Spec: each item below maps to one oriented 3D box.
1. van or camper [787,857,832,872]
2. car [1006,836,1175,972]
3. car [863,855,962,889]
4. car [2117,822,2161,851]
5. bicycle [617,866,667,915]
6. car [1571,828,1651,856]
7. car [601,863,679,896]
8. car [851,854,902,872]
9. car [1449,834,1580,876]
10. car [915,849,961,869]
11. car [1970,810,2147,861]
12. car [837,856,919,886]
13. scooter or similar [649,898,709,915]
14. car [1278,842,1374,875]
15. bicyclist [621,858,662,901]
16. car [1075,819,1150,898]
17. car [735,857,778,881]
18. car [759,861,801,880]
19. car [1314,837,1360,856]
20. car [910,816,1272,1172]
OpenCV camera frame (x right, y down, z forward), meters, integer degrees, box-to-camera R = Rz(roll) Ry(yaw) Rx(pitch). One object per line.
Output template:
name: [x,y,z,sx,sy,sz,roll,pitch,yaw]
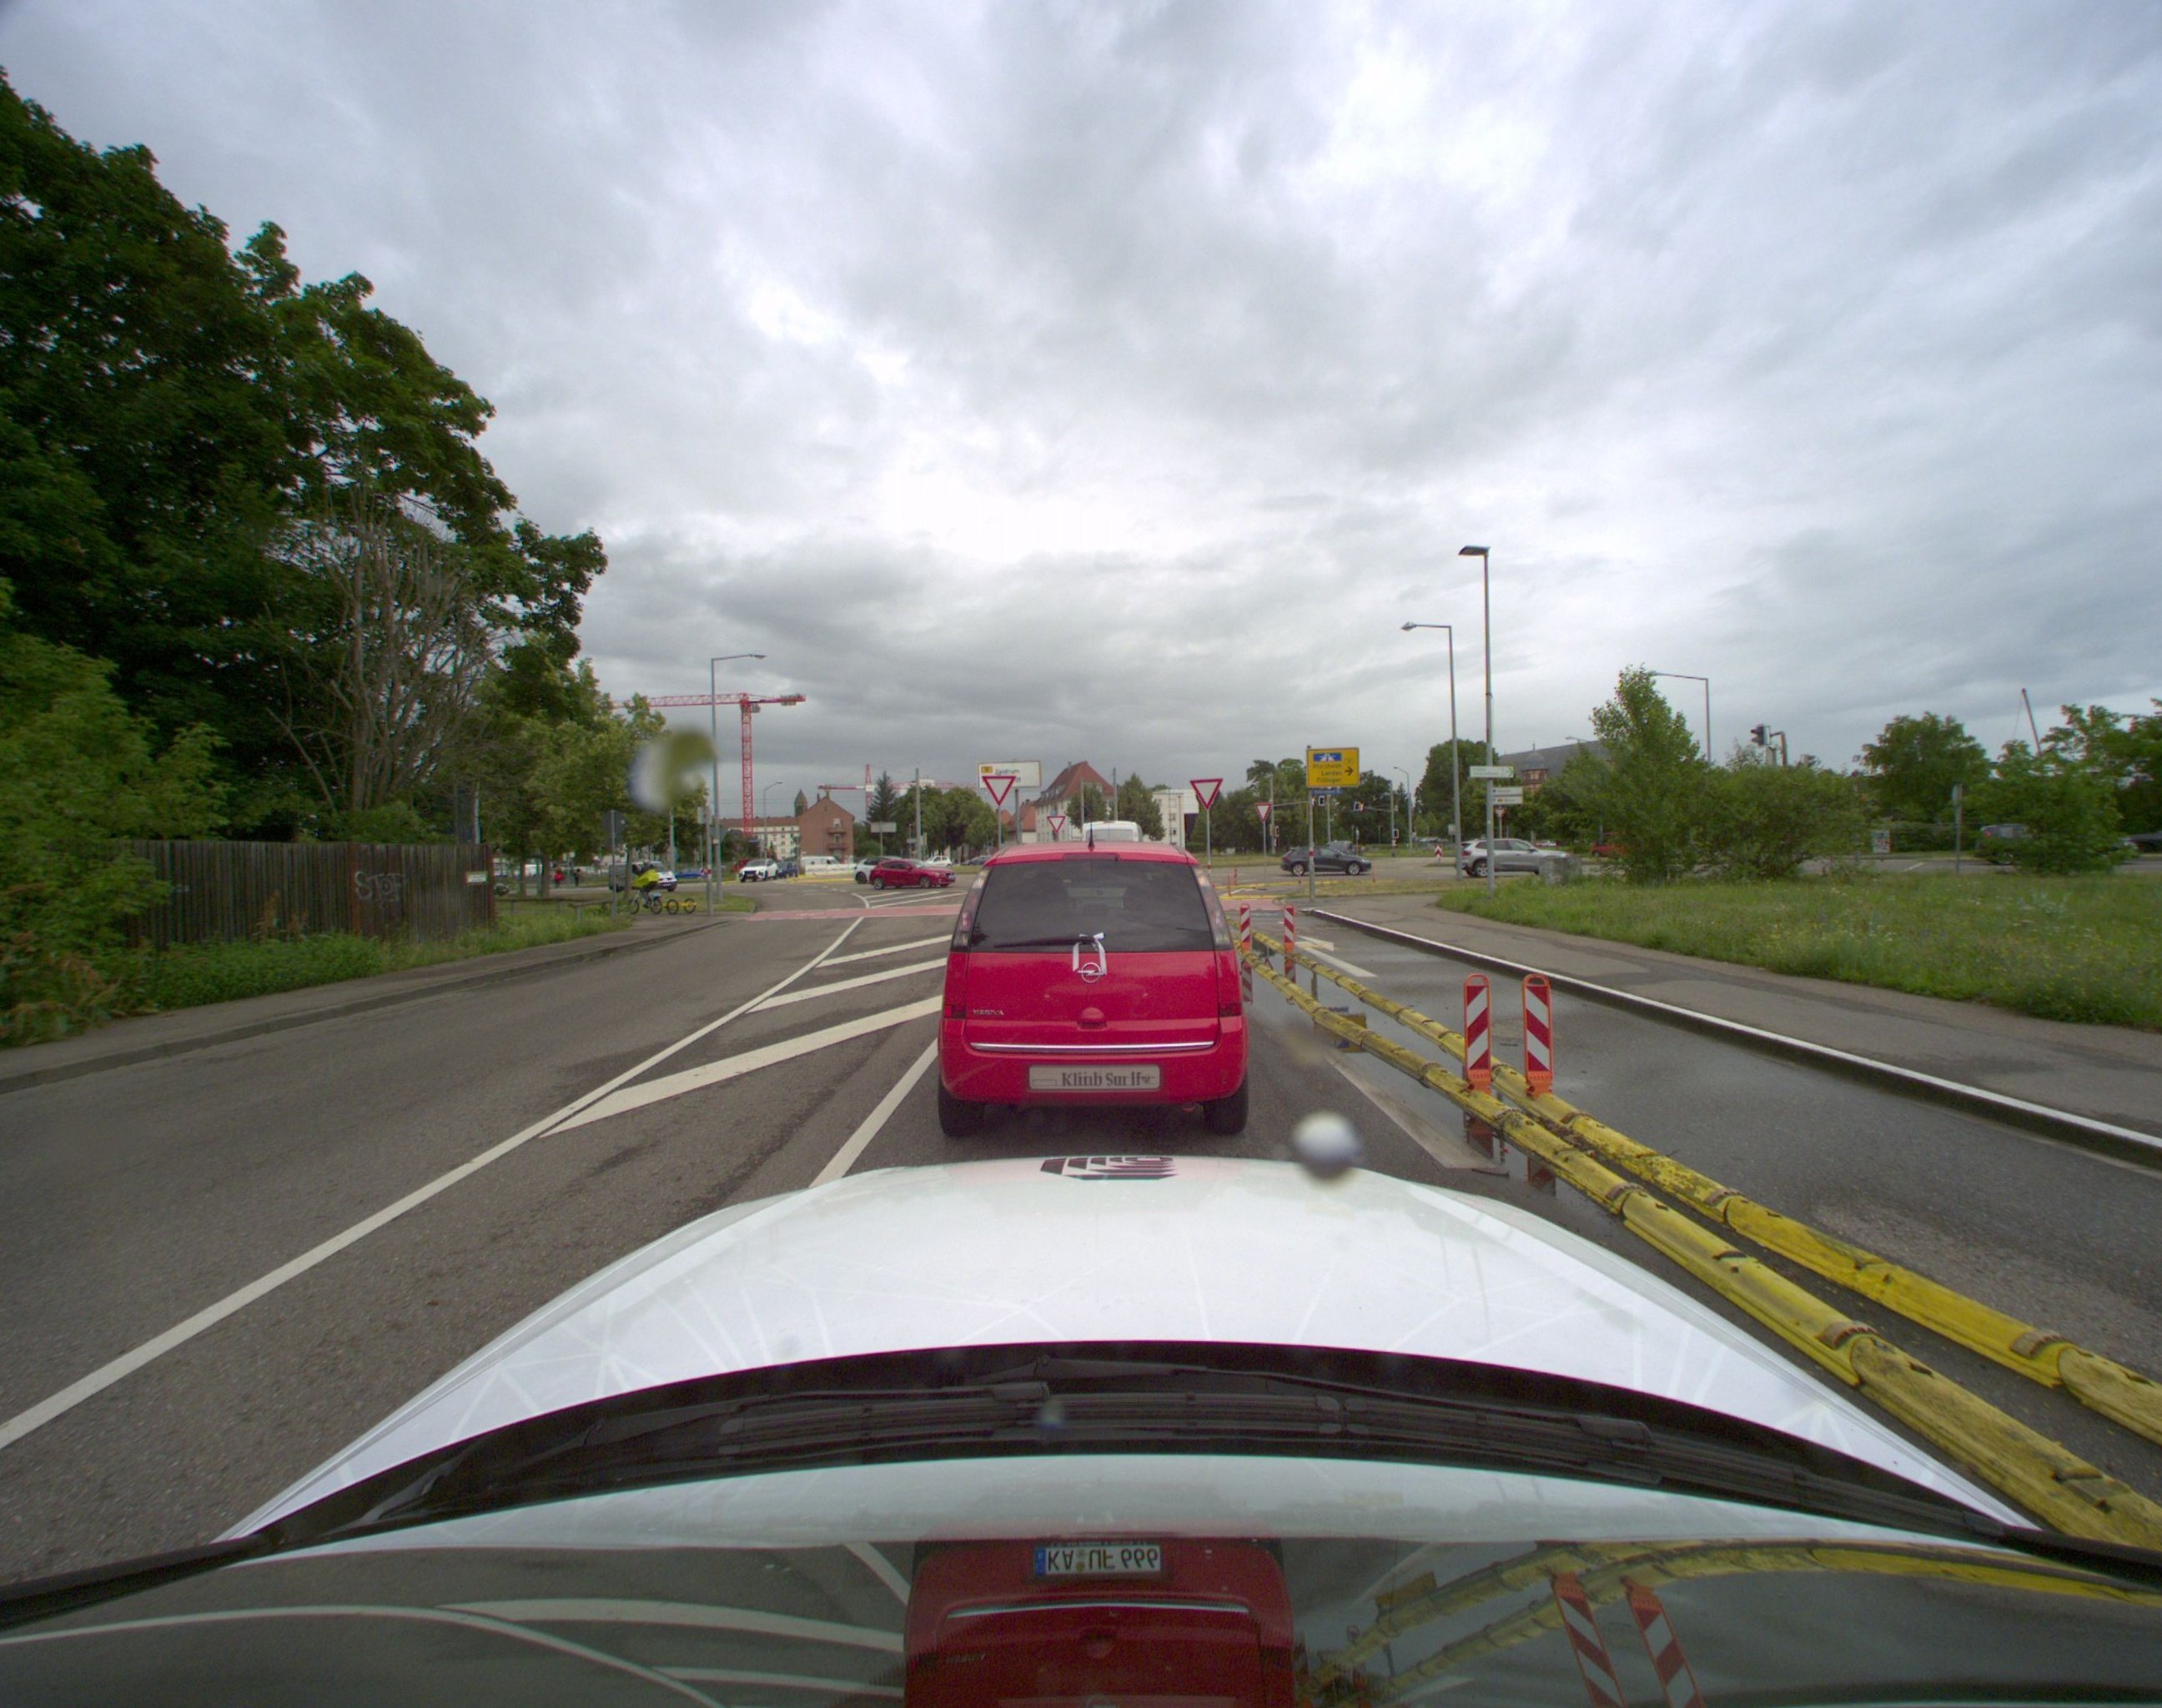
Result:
van or camper: [-40.531,1.635,121.612,6.135,2.013,2.007,-2,0,12]
car: [0.185,0.607,12.298,2.052,1.648,4.609,-1,0,2]
car: [-8.224,0.872,39.815,4.305,1.464,2.011,-2,0,23]
car: [51.660,-0.877,37.497,2.011,1.297,4.698,-2,0,-42]
bicycle: [-14.909,1.246,27.650,1.465,1.612,0.609,-2,0,18]
car: [38.787,-0.857,59.739,2.110,1.917,4.871,-2,0,-12]
car: [-27.438,1.567,50.590,4.786,1.900,2.112,-2,0,32]
car: [-20.433,0.873,81.354,1.974,1.635,4.705,-2,0,37]
car: [18.113,0.050,34.253,4.485,1.583,2.007,-2,0,13]
car: [-15.298,0.517,87.129,4.506,2.013,1.975,-2,0,-43]
car: [38.208,-0.683,32.031,4.154,1.813,2.091,-2,0,42]
car: [-11.374,0.924,45.765,3.962,1.508,2.006,-2,0,10]
scooter or similar: [-13.394,1.744,27.127,1.594,0.504,0.929,-2,0,20]
car: [11.998,0.220,40.146,4.282,1.464,2.005,-2,0,9]
bicyclist: [-14.917,0.864,27.649,1.053,1.401,0.618,-2,0,18]
car: [1.228,0.144,29.084,2.183,2.540,4.973,-1,0,7]
car: [-24.584,1.115,61.805,1.928,1.684,4.180,-2,0,-6]
car: [-25.237,1.374,68.450,1.923,1.489,4.002,-2,0,2]
car: [28.701,-0.831,91.264,4.421,2.013,2.013,-2,0,41]
car: [0.100,0.646,5.595,1.667,1.640,3.629,-1,0,2]
